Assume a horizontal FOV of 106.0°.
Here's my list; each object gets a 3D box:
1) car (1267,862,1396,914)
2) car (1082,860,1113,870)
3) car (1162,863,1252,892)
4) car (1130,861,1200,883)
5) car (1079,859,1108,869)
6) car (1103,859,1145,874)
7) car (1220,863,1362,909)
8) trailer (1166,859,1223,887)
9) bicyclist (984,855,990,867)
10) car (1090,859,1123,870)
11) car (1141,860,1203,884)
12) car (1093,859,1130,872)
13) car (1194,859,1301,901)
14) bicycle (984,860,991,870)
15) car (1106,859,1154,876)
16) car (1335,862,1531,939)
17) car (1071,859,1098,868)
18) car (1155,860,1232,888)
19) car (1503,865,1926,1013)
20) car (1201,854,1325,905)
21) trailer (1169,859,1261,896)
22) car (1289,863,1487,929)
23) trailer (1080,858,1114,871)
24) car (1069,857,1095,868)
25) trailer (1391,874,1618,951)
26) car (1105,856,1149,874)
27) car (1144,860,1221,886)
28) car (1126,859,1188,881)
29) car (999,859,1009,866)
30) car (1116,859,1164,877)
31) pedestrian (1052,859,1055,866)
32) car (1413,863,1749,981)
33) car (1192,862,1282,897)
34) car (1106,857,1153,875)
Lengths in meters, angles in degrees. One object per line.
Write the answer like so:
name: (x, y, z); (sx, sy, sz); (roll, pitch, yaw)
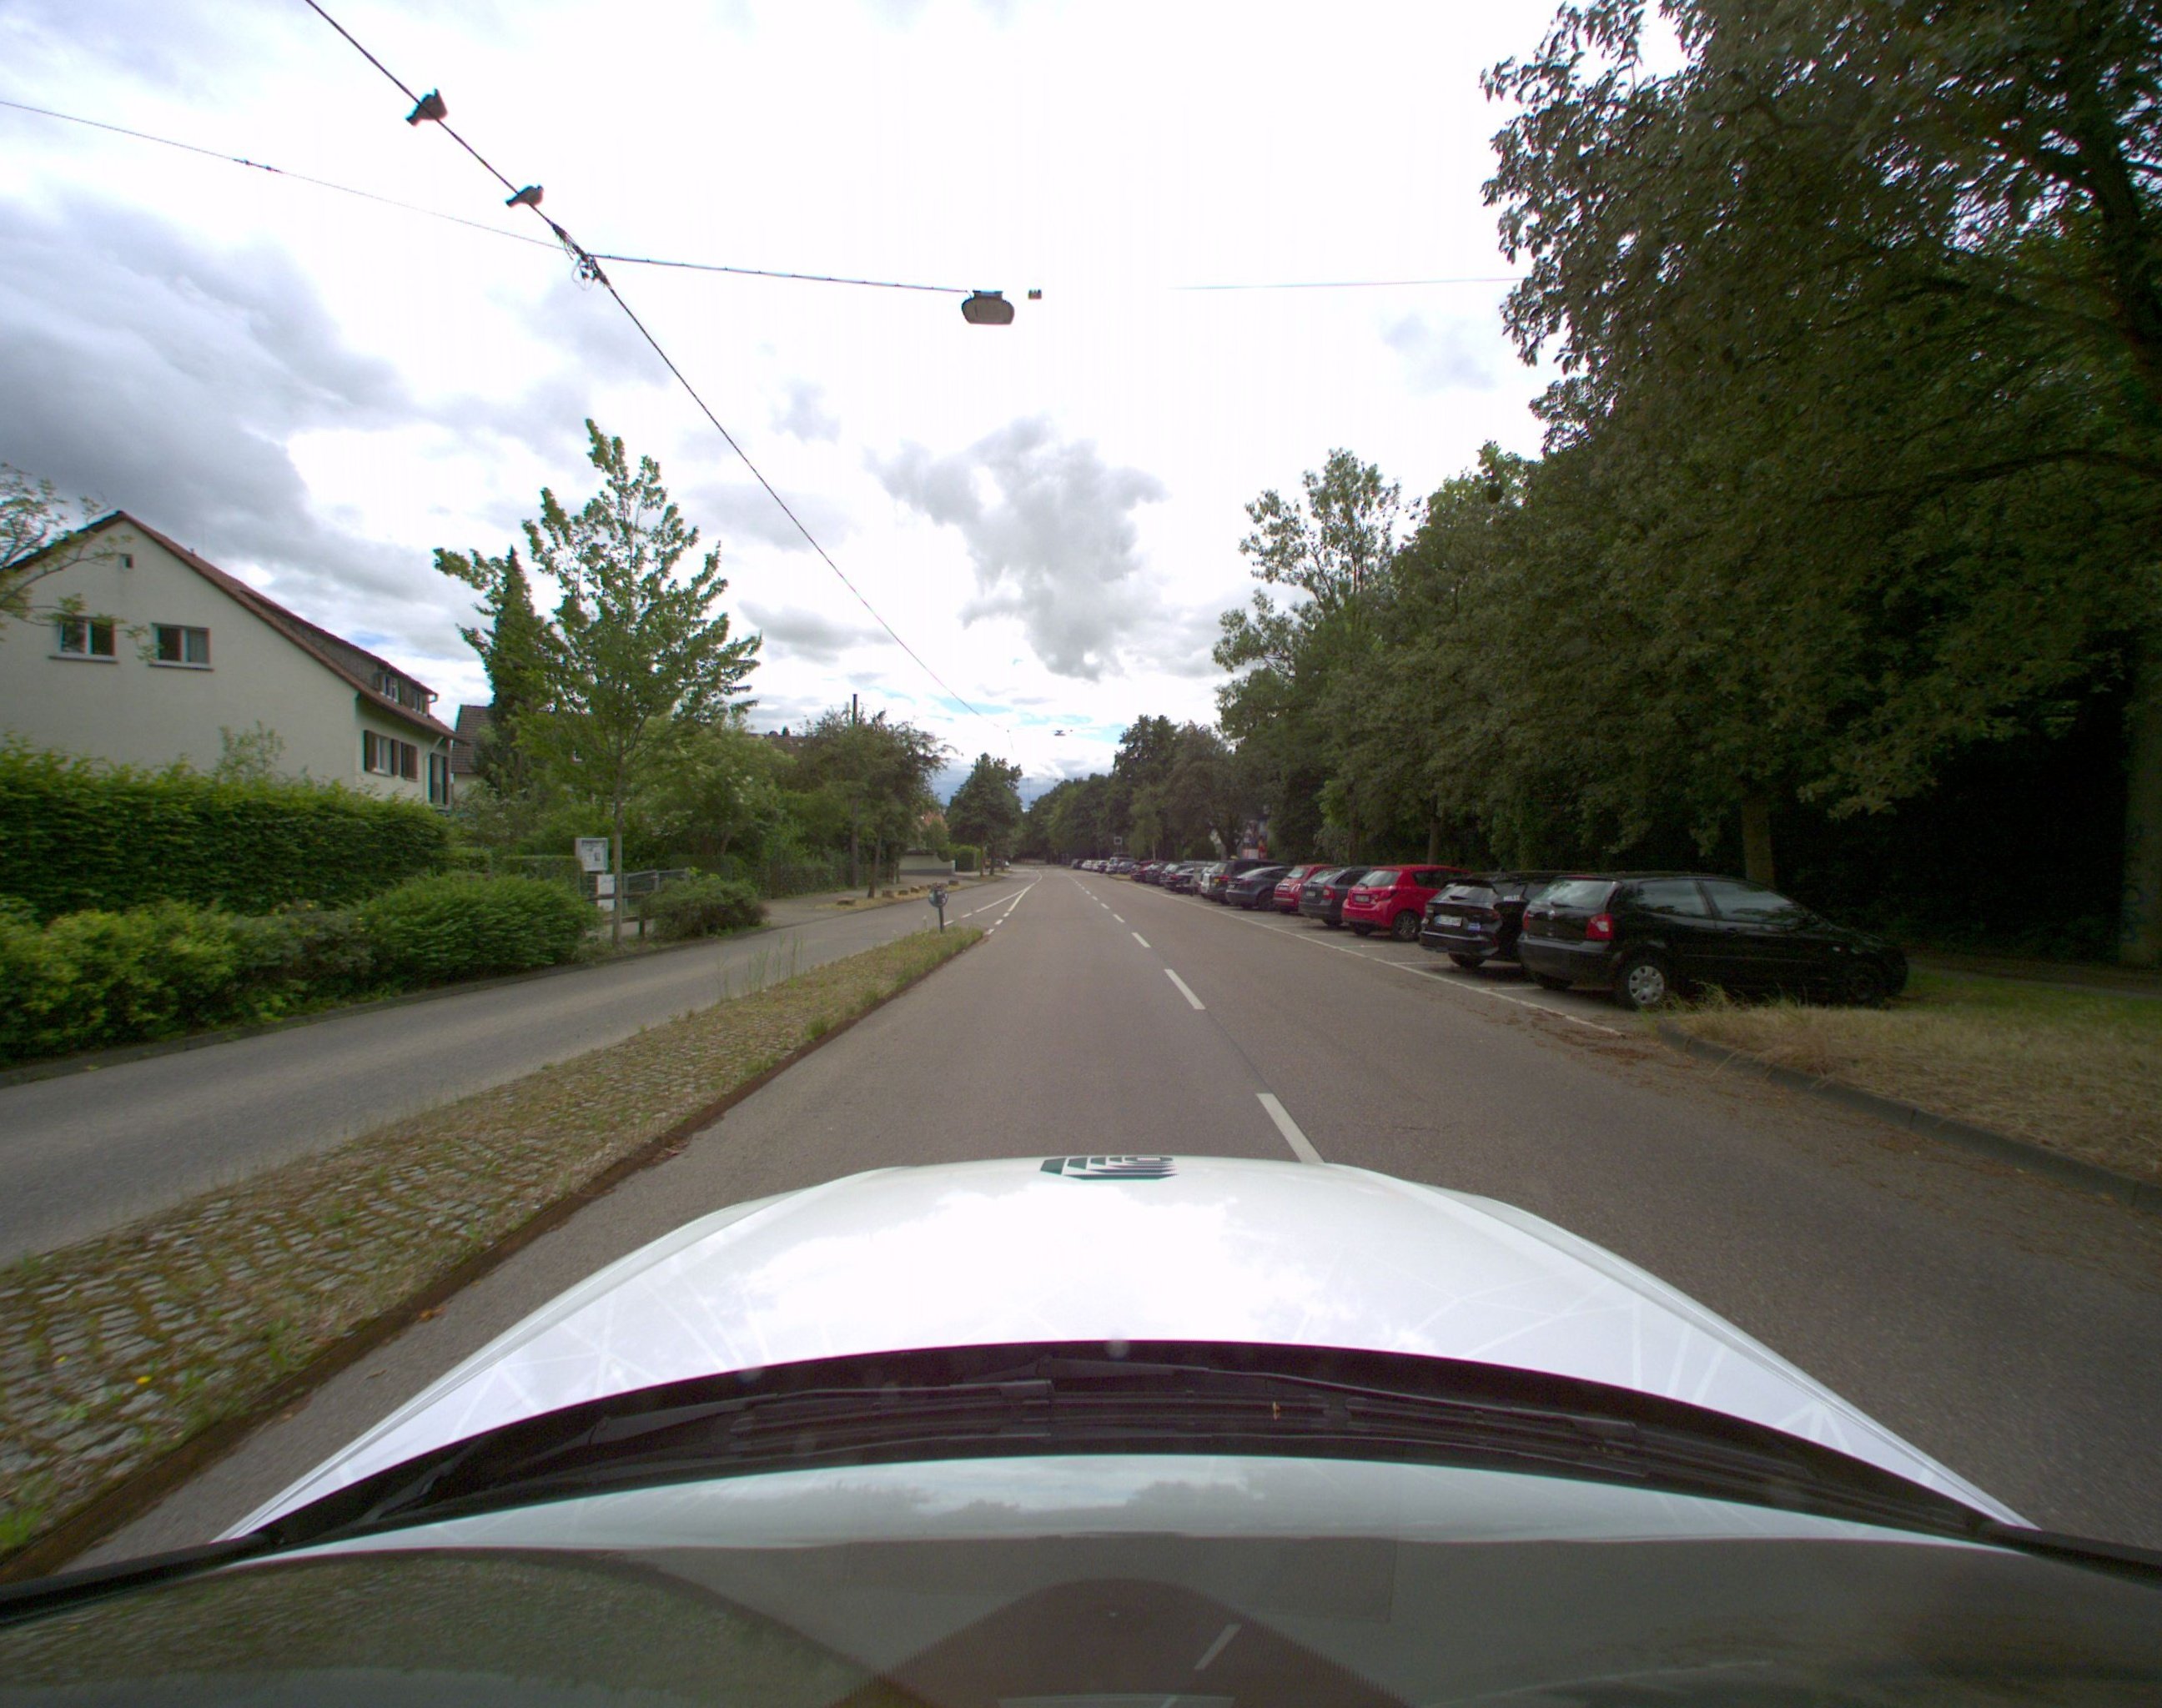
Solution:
car: (7.440, 1.006, 24.340); (3.328, 1.464, 1.628); (1, -1, -12)
car: (2.267, 1.508, 110.436); (3.905, 1.309, 1.728); (1, -1, -27)
car: (6.034, 1.143, 39.103); (4.038, 1.327, 1.553); (1, -1, -11)
car: (5.624, 1.206, 54.707); (4.321, 1.341, 1.724); (1, -1, -16)
car: (1.771, 1.417, 118.777); (3.900, 1.429, 1.731); (1, -1, -22)
car: (4.442, 1.310, 84.237); (3.976, 1.449, 1.907); (1, -1, -18)
car: (6.791, 1.036, 26.452); (4.164, 1.407, 1.690); (1, -1, -13)
trailer: (6.564, 1.100, 46.994); (2.991, 1.542, 1.296); (1, 0, -15)
bicyclist: (-13.169, 0.997, 114.333); (0.843, 1.697, 0.712); (1, 0, -4)
car: (3.310, 1.386, 105.549); (3.902, 1.449, 1.730); (1, -1, -24)
car: (5.822, 1.143, 52.147); (3.620, 1.445, 1.624); (1, 0, -18)
car: (3.572, 1.352, 94.441); (3.904, 1.449, 1.828); (1, -1, -26)
car: (6.485, 1.009, 31.900); (3.816, 1.529, 1.602); (1, -1, -6)
bicycle: (-13.179, 1.535, 114.341); (0.843, 1.266, 2.647); (1, 0, -5)
car: (4.503, 1.237, 75.094); (4.041, 1.405, 1.745); (1, 0, -20)
car: (7.283, 0.937, 16.957); (3.529, 1.476, 1.584); (1, 0, -15)
car: (0.530, 1.526, 128.717); (3.900, 1.429, 1.731); (1, -1, -22)
car: (6.157, 1.098, 44.620); (3.845, 1.455, 1.626); (1, 0, -14)
car: (7.019, 0.904, 9.236); (3.709, 1.476, 1.574); (1, 0, -5)
car: (6.472, 0.897, 29.112); (3.988, 1.725, 1.674); (1, -1, -12)
trailer: (5.992, 1.060, 36.550); (3.693, 1.535, 1.638); (1, 0, -14)
car: (7.284, 0.989, 19.440); (4.221, 1.464, 1.629); (1, 0, -11)
trailer: (2.104, 1.376, 107.740); (4.170, 1.573, 1.700); (1, -1, -22)
car: (0.131, 1.397, 131.488); (3.900, 1.668, 1.731); (1, -1, -22)
trailer: (7.590, 1.015, 14.713); (3.404, 1.267, 1.610); (1, -1, -12)
car: (4.584, 1.078, 80.960); (4.110, 1.754, 1.770); (1, -1, -29)
car: (6.106, 1.132, 49.135); (4.353, 1.445, 1.625); (1, 0, -17)
car: (5.355, 1.103, 57.541); (4.090, 1.515, 1.720); (0, 0, -24)
car: (-16.167, 1.745, 169.896); (1.867, 1.471, 3.987); (0, 0, -9)
car: (5.249, 1.243, 72.524); (3.974, 1.405, 1.746); (2, -1, -17)
pedestrian: (-6.289, 2.003, 186.046); (0.737, 1.570, 0.653); (0, -1, 8)
car: (6.987, 0.897, 11.478); (4.139, 1.476, 1.569); (1, -1, -13)
car: (6.566, 1.069, 34.363); (3.429, 1.445, 1.552); (1, -1, -14)
car: (4.646, 1.102, 78.054); (4.008, 1.620, 1.873); (1, 0, -18)
